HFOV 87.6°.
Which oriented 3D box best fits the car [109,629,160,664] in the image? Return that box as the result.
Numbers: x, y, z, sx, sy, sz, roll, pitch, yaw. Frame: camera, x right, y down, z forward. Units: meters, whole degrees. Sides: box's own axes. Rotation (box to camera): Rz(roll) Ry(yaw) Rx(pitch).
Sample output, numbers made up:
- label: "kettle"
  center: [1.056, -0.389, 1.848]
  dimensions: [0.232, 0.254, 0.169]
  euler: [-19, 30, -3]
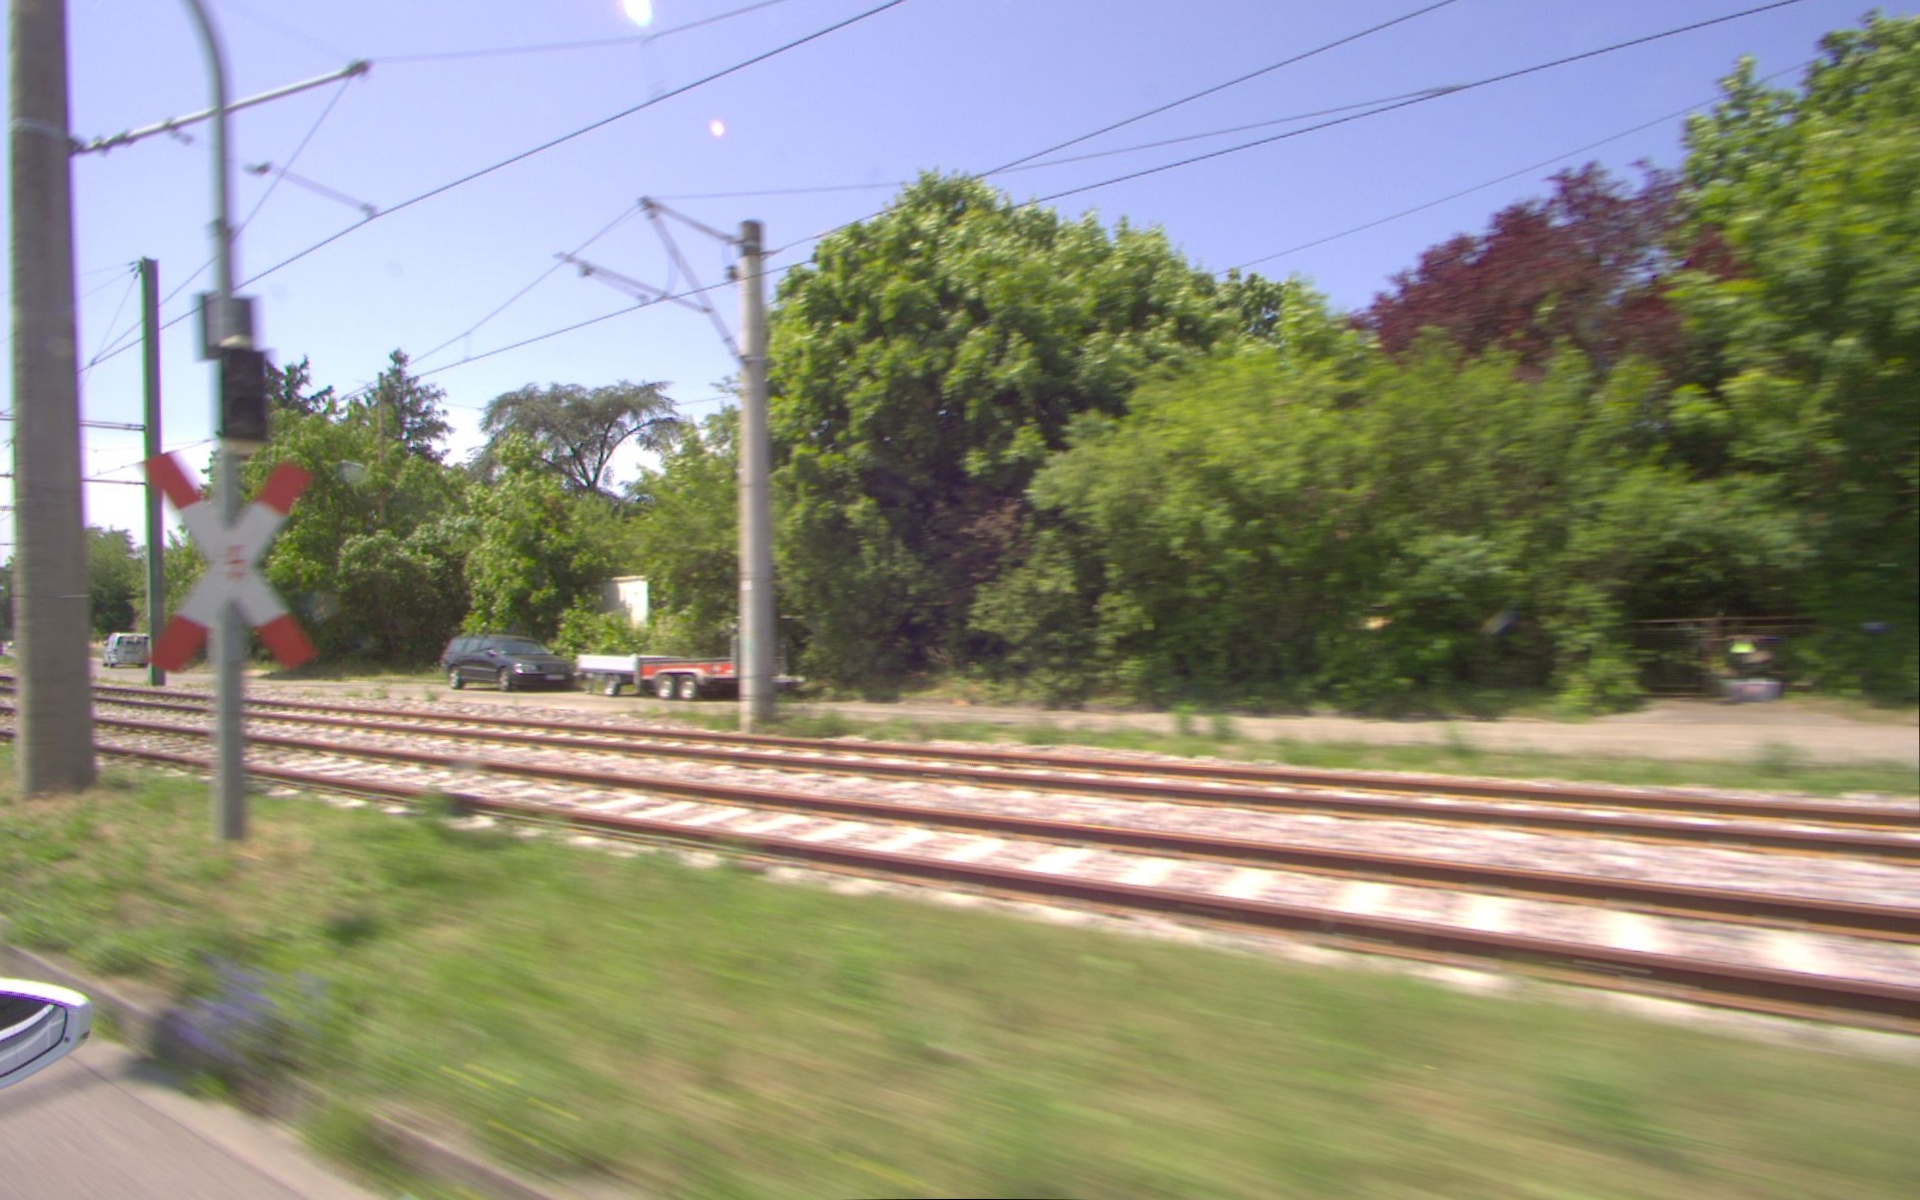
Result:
- label: "car"
  center: [-48.374, 2.756, 58.612]
  dimensions: [2.022, 1.906, 5.023]
  euler: [-1, -2, -43]

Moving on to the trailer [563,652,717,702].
- label: "trailer"
  center: [-7.481, 1.754, 23.281]
  dimensions: [3.949, 1.007, 1.415]
  euler: [-1, -3, 37]

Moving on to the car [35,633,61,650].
- label: "car"
  center: [-102.897, 4.694, 112.973]
  dimensions: [1.981, 1.825, 4.748]
  euler: [-1, -2, -45]

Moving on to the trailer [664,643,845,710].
- label: "trailer"
  center: [-4.341, 1.566, 20.854]
  dimensions: [3.951, 1.238, 1.456]
  euler: [-3, -2, 38]

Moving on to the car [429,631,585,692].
- label: "car"
  center: [-12.168, 1.645, 26.785]
  dimensions: [4.682, 1.444, 1.790]
  euler: [-3, -2, 38]
